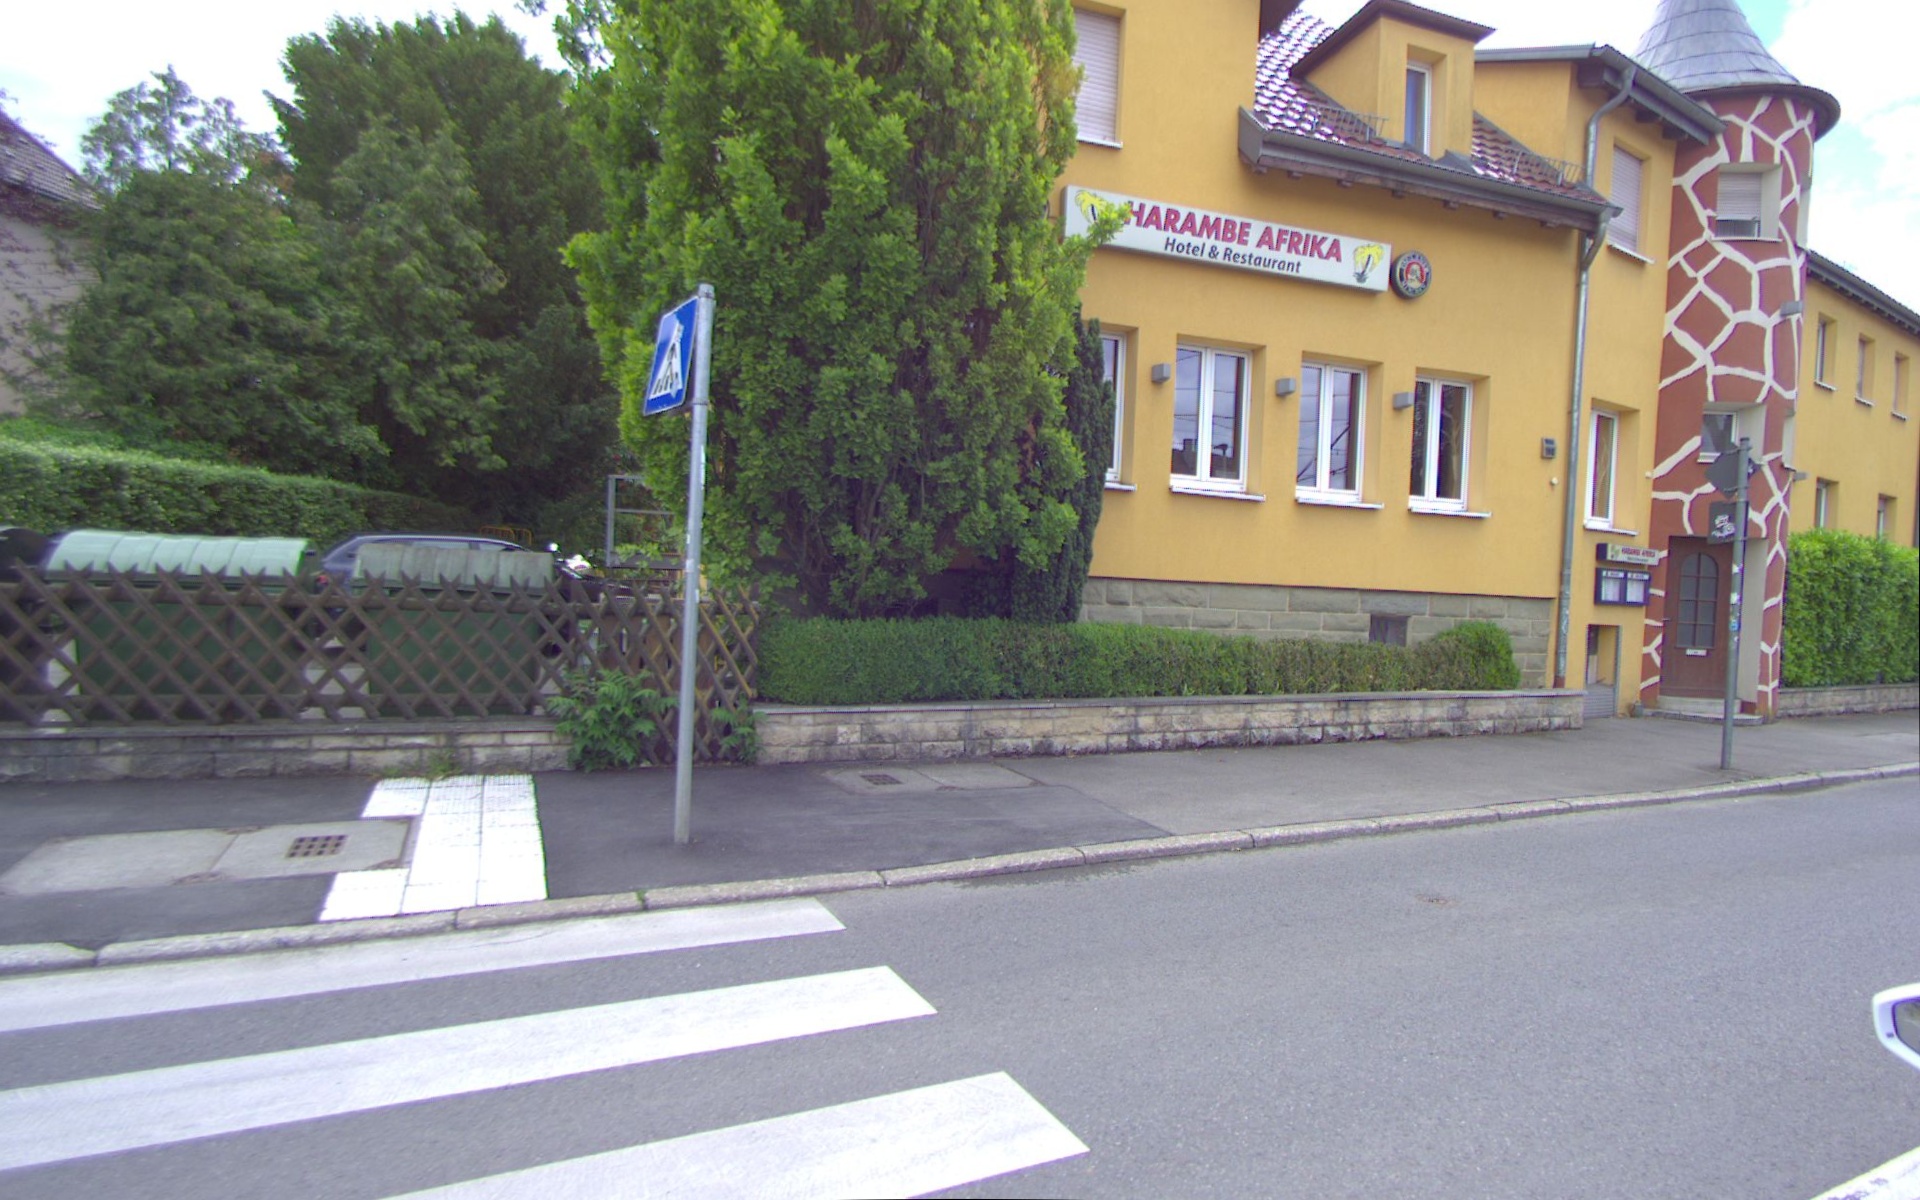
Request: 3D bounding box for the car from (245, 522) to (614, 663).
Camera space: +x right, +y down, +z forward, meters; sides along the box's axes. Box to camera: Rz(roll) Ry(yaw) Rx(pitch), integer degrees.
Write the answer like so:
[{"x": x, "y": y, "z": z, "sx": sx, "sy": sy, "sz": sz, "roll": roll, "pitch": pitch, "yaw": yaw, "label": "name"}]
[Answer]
[{"x": -6.149, "y": -0.108, "z": 11.997, "sx": 3.631, "sy": 1.447, "sz": 1.715, "roll": 1, "pitch": 4, "yaw": -26, "label": "car"}]
